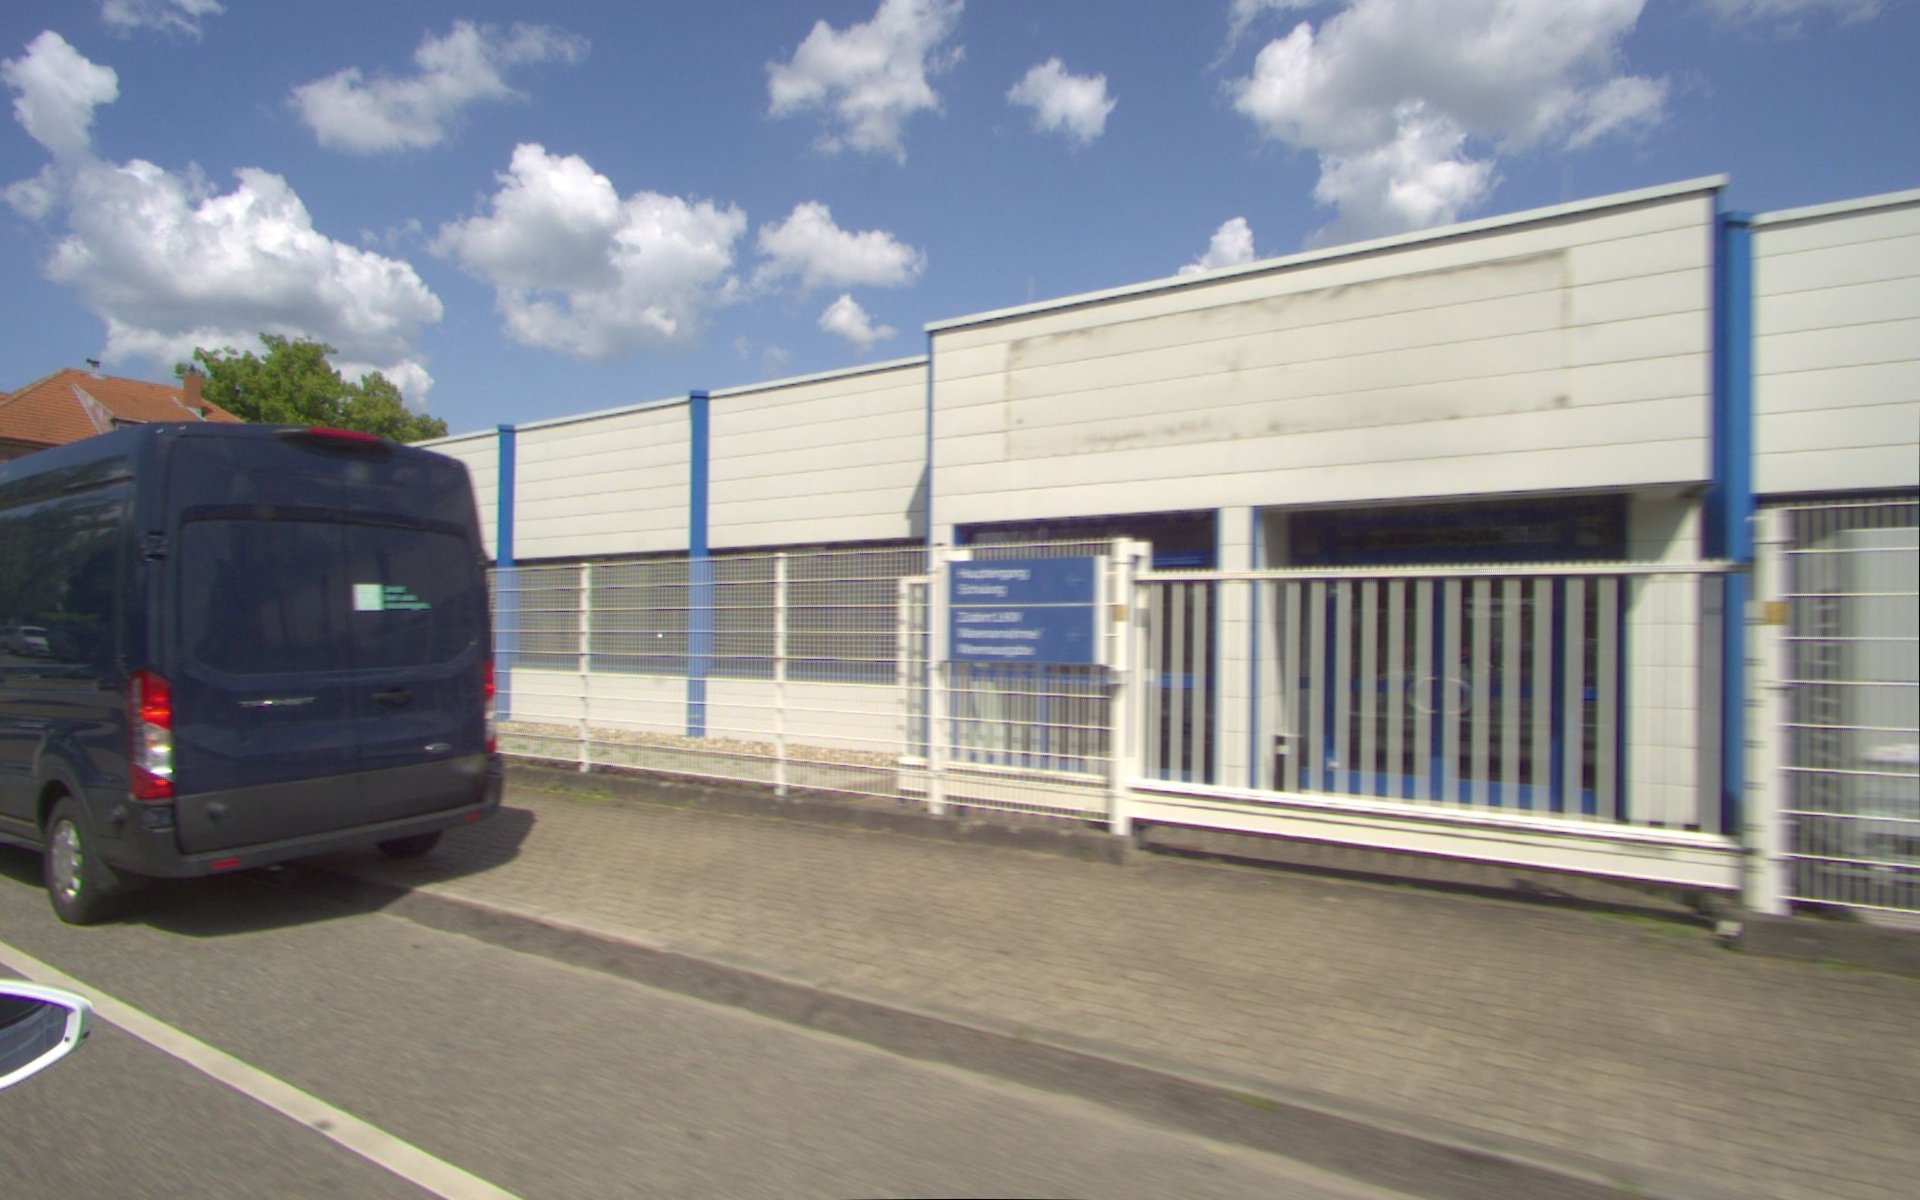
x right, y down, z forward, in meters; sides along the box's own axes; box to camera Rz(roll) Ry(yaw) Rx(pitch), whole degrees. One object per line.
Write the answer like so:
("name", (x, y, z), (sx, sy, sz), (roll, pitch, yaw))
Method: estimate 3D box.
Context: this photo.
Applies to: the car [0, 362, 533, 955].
("car", (-5.796, 0.334, 7.144), (6.066, 2.783, 1.934), (-1, -1, 32))
